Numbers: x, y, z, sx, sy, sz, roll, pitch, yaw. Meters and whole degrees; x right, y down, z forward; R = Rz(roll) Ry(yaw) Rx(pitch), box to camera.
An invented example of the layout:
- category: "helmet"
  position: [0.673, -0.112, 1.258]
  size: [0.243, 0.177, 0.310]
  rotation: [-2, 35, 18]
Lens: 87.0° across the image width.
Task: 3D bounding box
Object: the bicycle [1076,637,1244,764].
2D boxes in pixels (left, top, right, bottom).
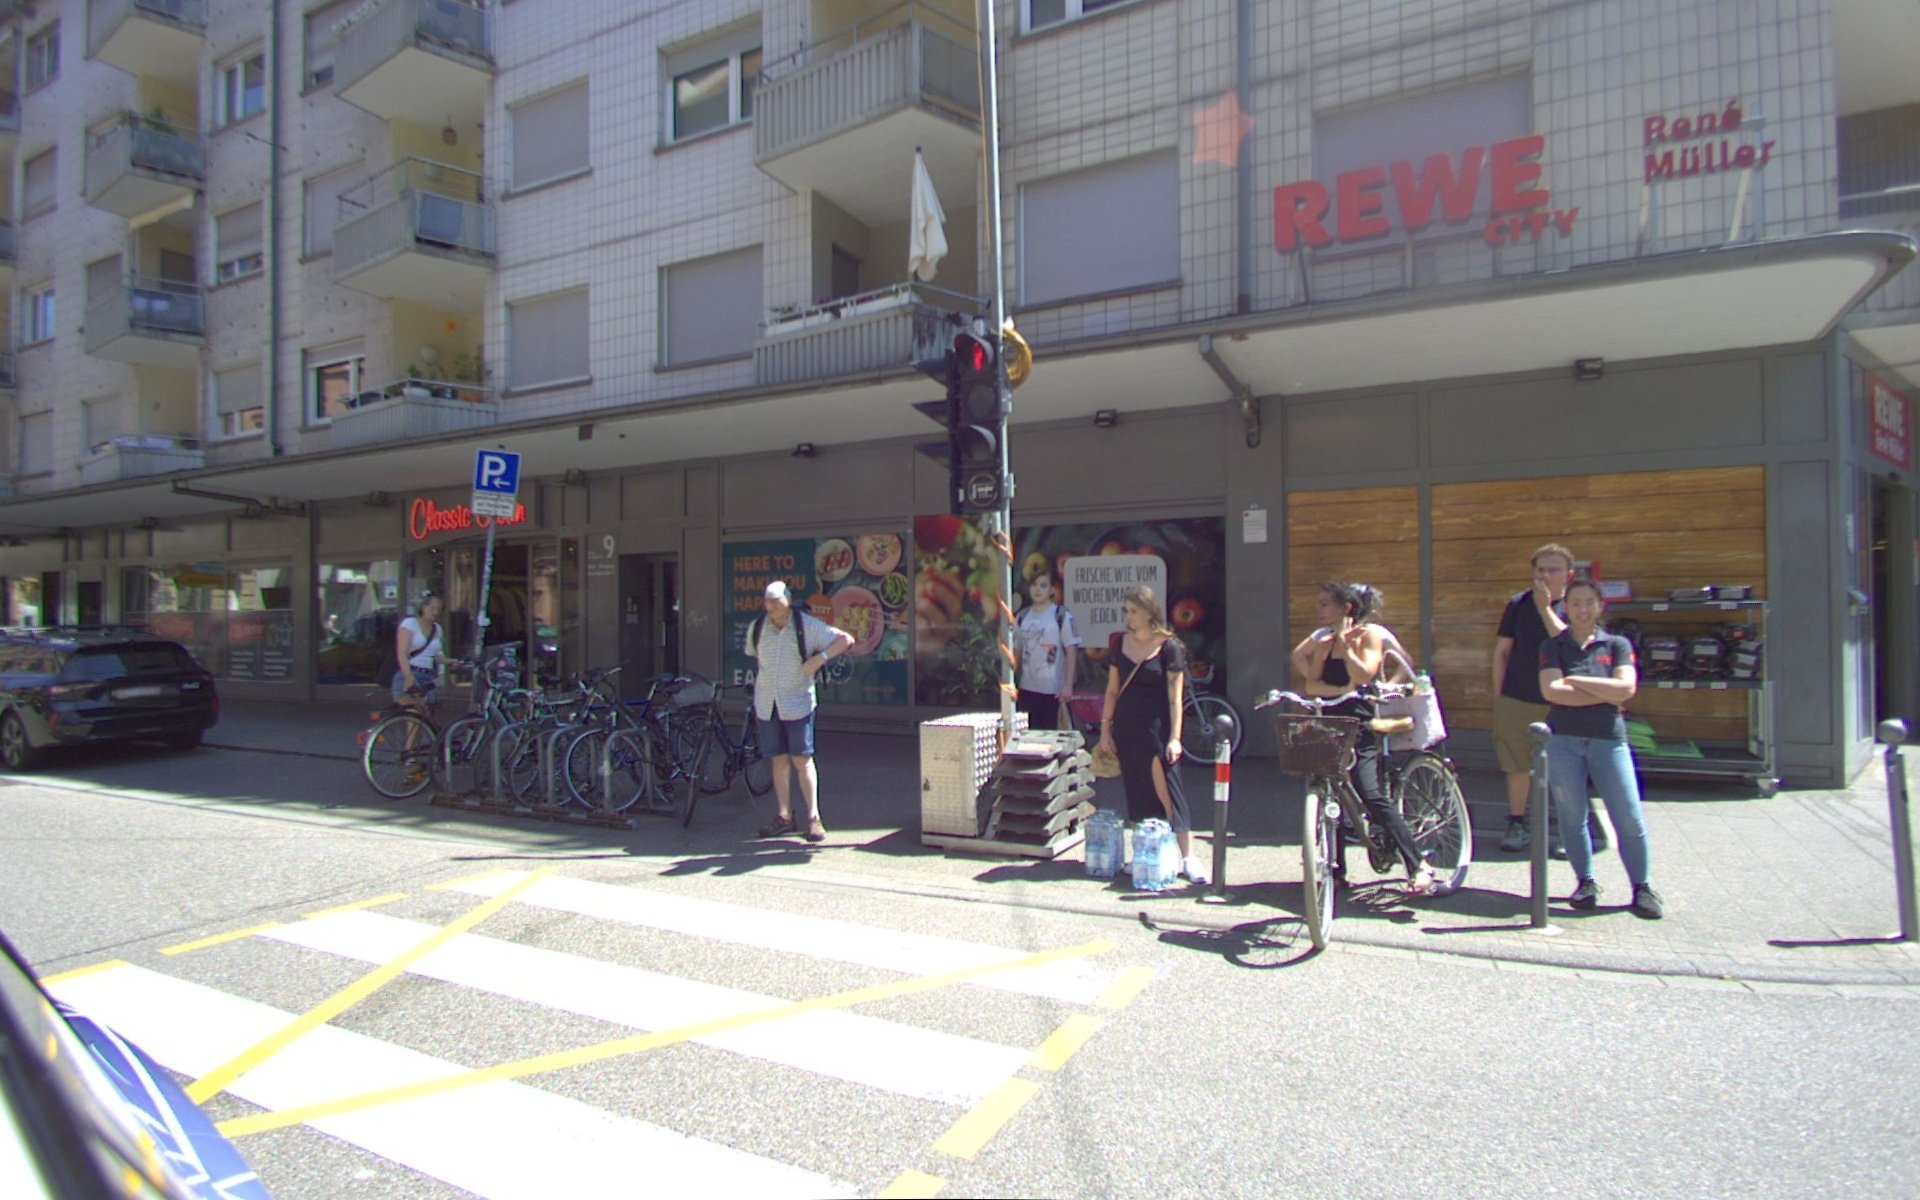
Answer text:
- category: "bicycle"
  position: [1.778, 0.902, 9.081]
  size: [1.417, 1.094, 0.320]
  rotation: [-2, -1, 10]

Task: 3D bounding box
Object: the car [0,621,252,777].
- category: "car"
  position: [-10.511, 1.062, 12.061]
  size: [4.445, 1.536, 1.659]
  rotation: [-1, 0, 30]

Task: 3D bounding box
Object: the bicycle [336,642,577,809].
- category: "bicycle"
  position: [-4.434, 1.065, 9.105]
  size: [0.601, 1.099, 1.926]
  rotation: [-4, 4, 23]

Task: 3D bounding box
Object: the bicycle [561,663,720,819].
- category: "bicycle"
  position: [-2.551, 1.091, 8.231]
  size: [0.333, 1.043, 1.440]
  rotation: [-1, 1, 24]

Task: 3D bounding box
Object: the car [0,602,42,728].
- category: "car"
  position: [-16.140, 0.990, 15.303]
  size: [4.674, 1.825, 1.779]
  rotation: [-1, 0, 26]

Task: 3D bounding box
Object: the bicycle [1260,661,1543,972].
- category: "bicycle"
  position: [2.159, 0.917, 4.826]
  size: [1.782, 1.127, 0.468]
  rotation: [-1, 0, -40]

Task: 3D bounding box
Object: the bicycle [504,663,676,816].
- category: "bicycle"
  position: [-3.030, 1.104, 8.429]
  size: [0.396, 1.038, 1.486]
  rotation: [-1, 1, 24]

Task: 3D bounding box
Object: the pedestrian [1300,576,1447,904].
- category: "pedestrian"
  position: [2.130, 0.676, 5.221]
  size: [0.489, 1.577, 0.460]
  rotation: [-2, 0, -35]

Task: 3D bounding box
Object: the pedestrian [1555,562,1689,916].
- category: "pedestrian"
  position: [3.221, 0.646, 4.957]
  size: [0.473, 1.630, 0.387]
  rotation: [-1, -2, 27]

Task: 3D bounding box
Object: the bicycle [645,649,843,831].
- category: "bicycle"
  position: [-1.609, 1.005, 7.880]
  size: [0.574, 1.131, 1.790]
  rotation: [-1, 1, 23]

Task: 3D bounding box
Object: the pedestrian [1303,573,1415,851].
- category: "pedestrian"
  position: [2.514, 0.672, 6.363]
  size: [0.596, 1.645, 0.506]
  rotation: [-1, -2, 27]

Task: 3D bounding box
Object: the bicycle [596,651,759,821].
- category: "bicycle"
  position: [-2.200, 1.021, 8.066]
  size: [0.333, 1.125, 1.512]
  rotation: [-1, 1, 24]

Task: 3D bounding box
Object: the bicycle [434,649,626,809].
- category: "bicycle"
  position: [-3.671, 1.058, 8.786]
  size: [0.524, 1.148, 1.576]
  rotation: [-1, 1, 24]

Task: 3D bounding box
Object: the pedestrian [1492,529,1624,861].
- category: "pedestrian"
  position: [3.495, 0.532, 5.959]
  size: [0.596, 1.834, 0.506]
  rotation: [-1, -2, 27]

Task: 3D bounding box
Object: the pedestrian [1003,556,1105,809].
- category: "pedestrian"
  position: [0.698, 0.587, 7.496]
  size: [0.596, 1.784, 0.506]
  rotation: [-1, -2, 27]

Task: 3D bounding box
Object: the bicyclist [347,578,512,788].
- category: "bicyclist"
  position: [-4.754, 0.720, 9.123]
  size: [0.621, 1.718, 0.971]
  rotation: [-4, 3, 24]

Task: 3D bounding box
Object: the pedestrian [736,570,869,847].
- category: "pedestrian"
  position: [-1.052, 0.692, 6.823]
  size: [0.629, 1.740, 0.652]
  rotation: [-1, -1, 27]

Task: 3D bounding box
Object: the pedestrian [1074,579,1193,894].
- category: "pedestrian"
  position: [0.975, 0.718, 5.657]
  size: [0.509, 1.645, 0.538]
  rotation: [-1, -2, 27]
